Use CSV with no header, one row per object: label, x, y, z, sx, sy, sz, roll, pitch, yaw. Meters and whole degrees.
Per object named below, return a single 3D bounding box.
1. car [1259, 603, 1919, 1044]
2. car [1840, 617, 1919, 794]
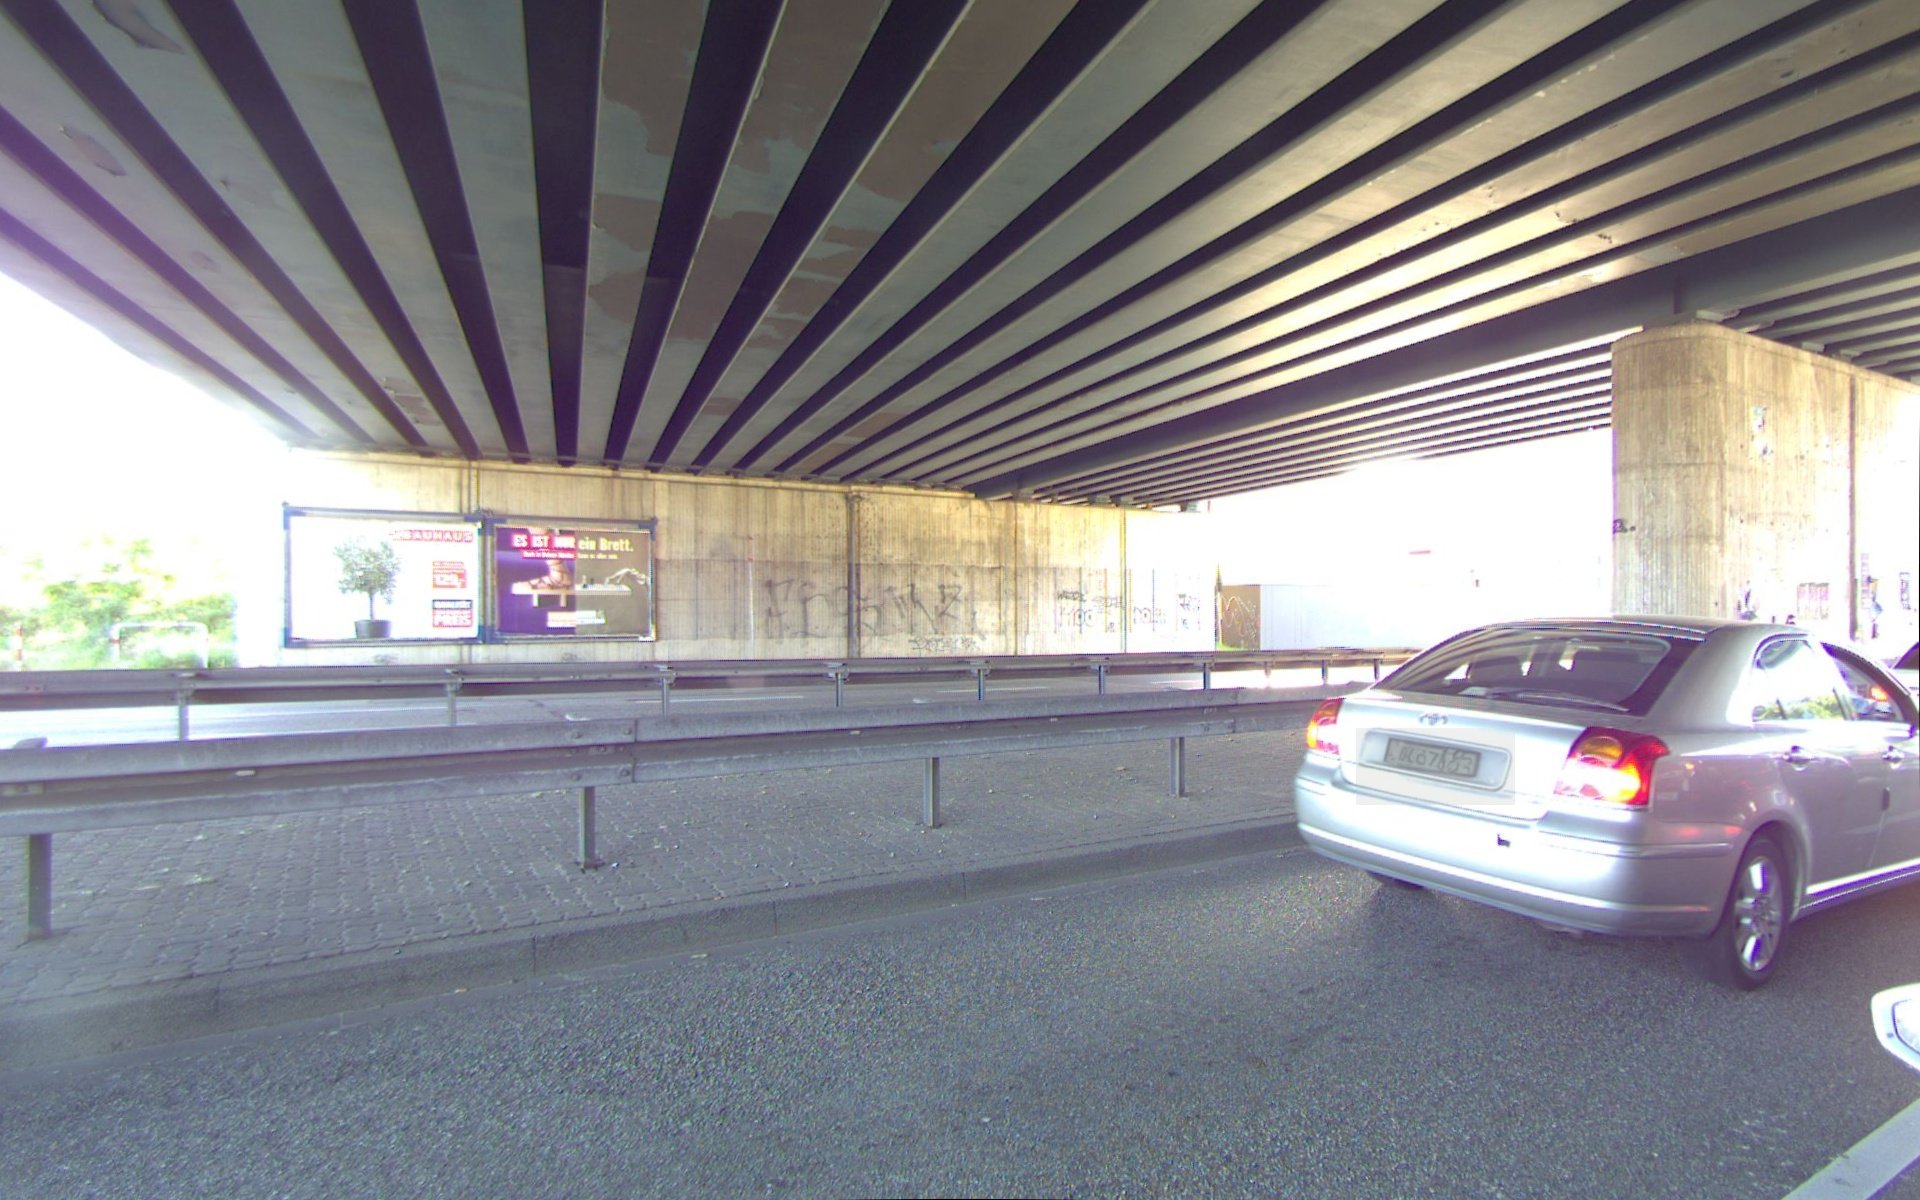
car,3.742,0.800,5.260,4.347,1.474,1.688,1,0,-31
car,9.633,0.905,8.882,3.768,1.429,1.684,1,0,-30
